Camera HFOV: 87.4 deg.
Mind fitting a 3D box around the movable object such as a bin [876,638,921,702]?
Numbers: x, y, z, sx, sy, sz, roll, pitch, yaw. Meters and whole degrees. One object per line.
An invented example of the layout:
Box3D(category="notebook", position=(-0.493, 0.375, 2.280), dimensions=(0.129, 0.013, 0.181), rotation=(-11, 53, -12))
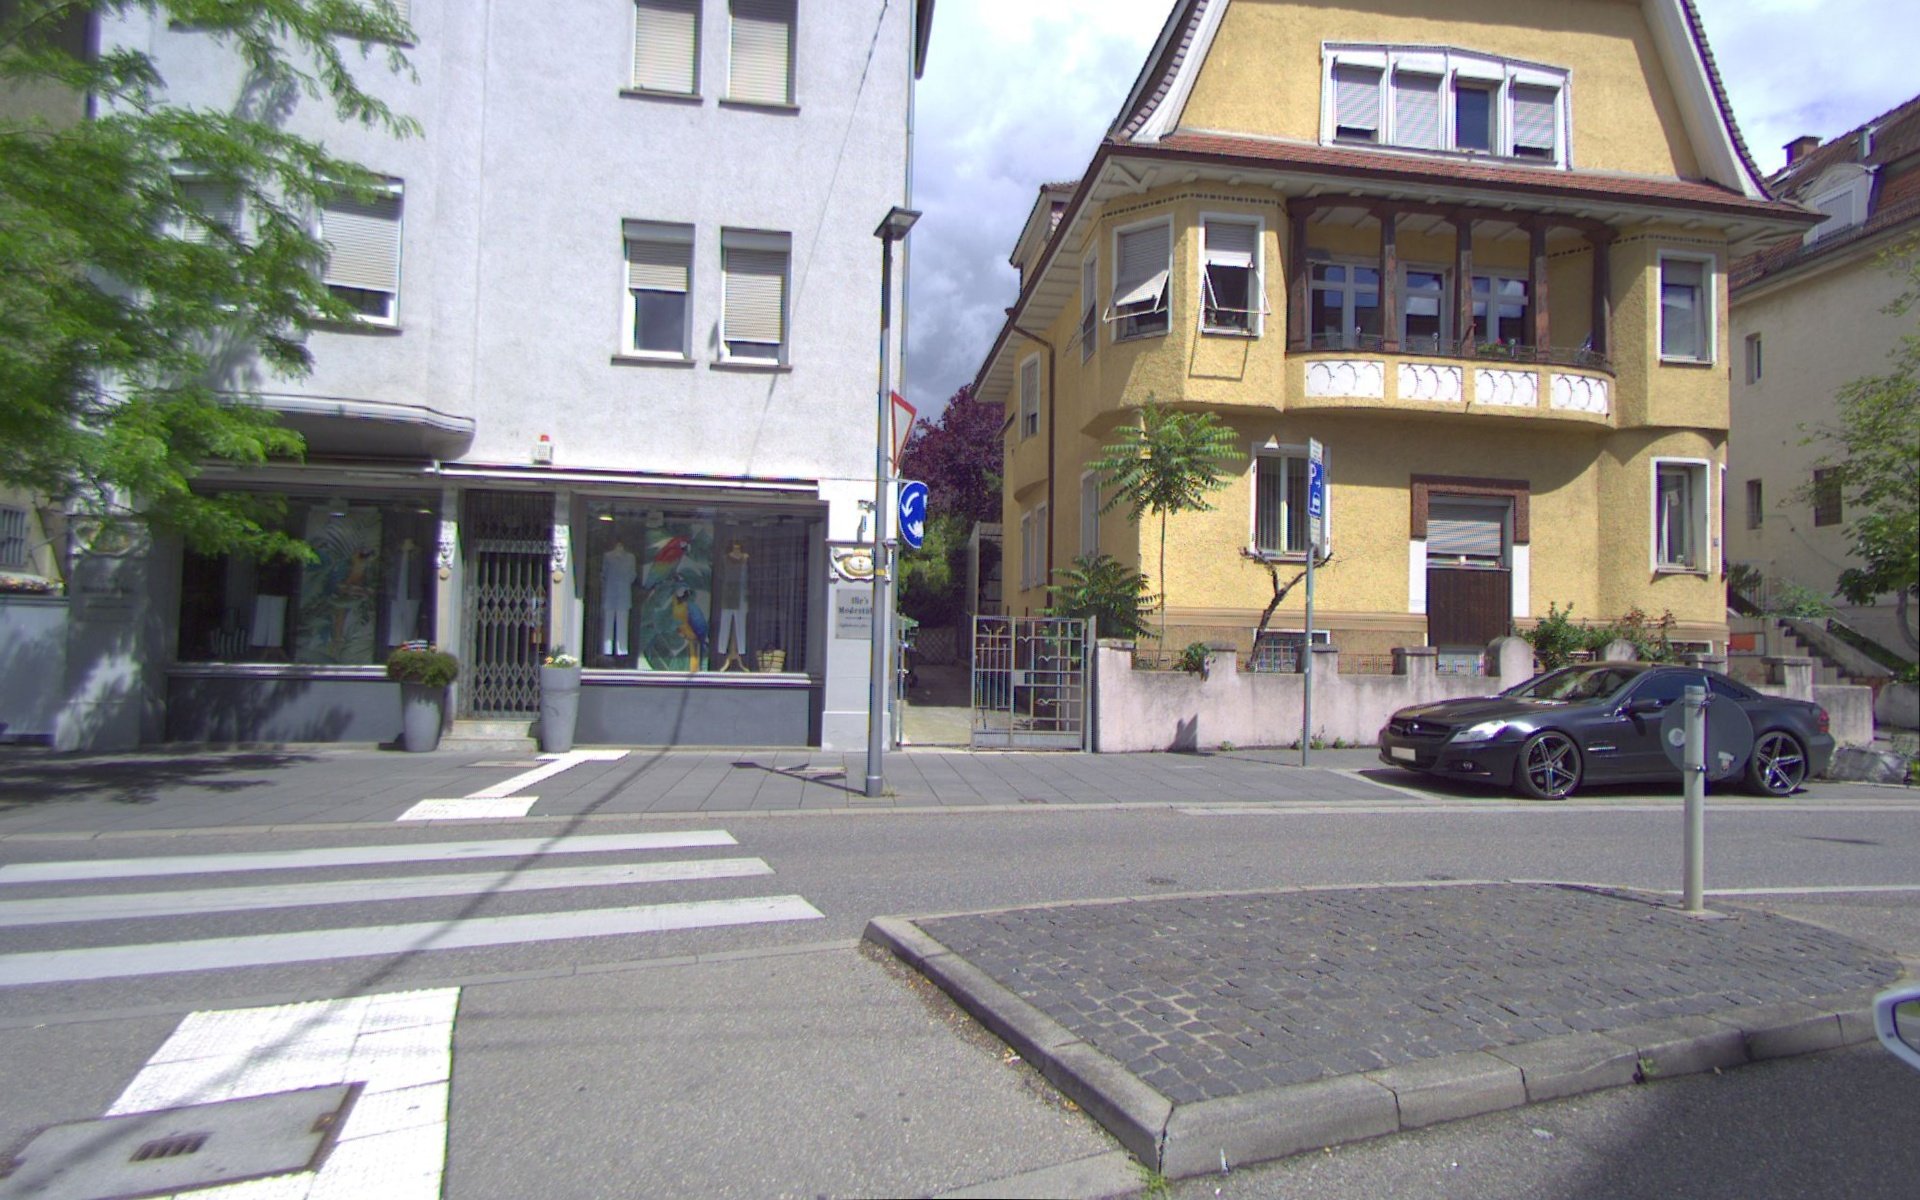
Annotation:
Box3D(category="movable object such as a bin", position=(-1.190, 1.320, 19.167), dimensions=(0.701, 1.137, 0.938), rotation=(2, 0, -11))

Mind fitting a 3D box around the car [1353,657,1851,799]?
Box3D(category="car", position=(6.556, 1.261, 10.454), dimensions=(4.331, 1.261, 1.713), rotation=(1, -2, -9))
